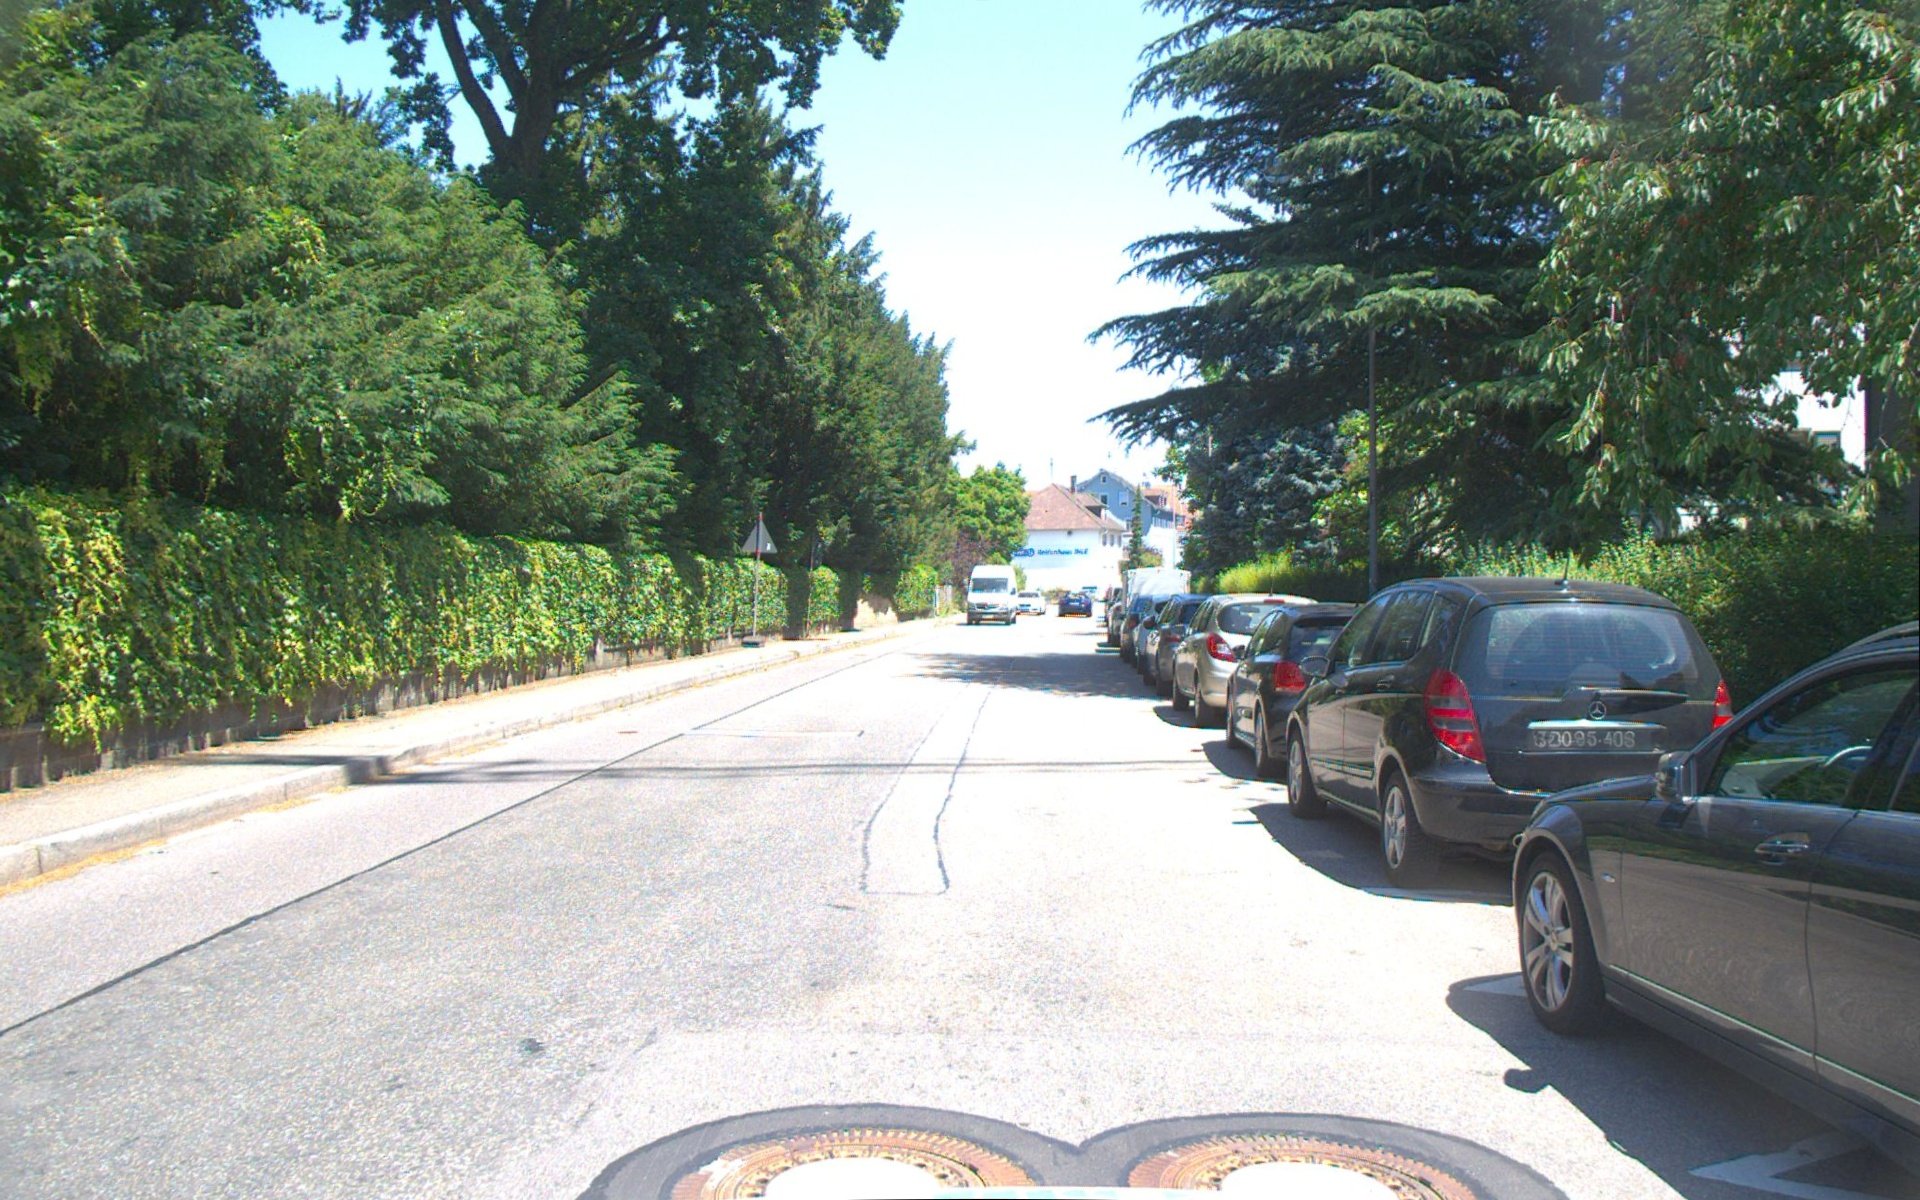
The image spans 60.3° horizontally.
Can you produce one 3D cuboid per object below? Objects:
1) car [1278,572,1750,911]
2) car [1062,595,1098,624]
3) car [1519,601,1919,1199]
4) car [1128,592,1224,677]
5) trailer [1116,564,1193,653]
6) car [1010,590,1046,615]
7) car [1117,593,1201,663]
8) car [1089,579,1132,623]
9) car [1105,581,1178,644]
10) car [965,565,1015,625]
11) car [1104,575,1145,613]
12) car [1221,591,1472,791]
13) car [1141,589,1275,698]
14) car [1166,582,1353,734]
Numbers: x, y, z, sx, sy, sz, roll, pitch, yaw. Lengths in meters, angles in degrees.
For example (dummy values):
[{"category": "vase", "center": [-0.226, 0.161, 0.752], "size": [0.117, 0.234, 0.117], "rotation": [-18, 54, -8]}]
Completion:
[{"category": "car", "center": [3.038, 0.653, 9.933], "size": [1.549, 1.603, 4.009], "rotation": [1, 1, 1]}, {"category": "car", "center": [6.875, 0.560, 94.262], "size": [1.756, 1.536, 4.003], "rotation": [2, 0, 8]}, {"category": "car", "center": [2.963, 0.744, 4.087], "size": [1.628, 1.457, 4.202], "rotation": [0, 0, -2]}, {"category": "car", "center": [4.110, 0.612, 31.877], "size": [1.580, 1.495, 4.066], "rotation": [0, 0, 4]}, {"category": "trailer", "center": [4.892, 0.181, 42.047], "size": [1.645, 2.104, 3.710], "rotation": [1, 1, 3]}, {"category": "car", "center": [4.098, 0.160, 99.004], "size": [1.824, 1.407, 4.608], "rotation": [1, 1, 6]}, {"category": "car", "center": [4.331, 0.583, 36.422], "size": [1.581, 1.420, 4.260], "rotation": [1, 0, 4]}, {"category": "car", "center": [6.446, 0.035, 70.990], "size": [1.709, 1.813, 4.546], "rotation": [1, 0, 5]}, {"category": "car", "center": [5.071, 0.311, 46.660], "size": [1.734, 1.660, 4.606], "rotation": [1, 1, 3]}, {"category": "car", "center": [1.402, -0.208, 74.315], "size": [1.952, 2.577, 5.897], "rotation": [1, 0, 4]}, {"category": "car", "center": [8.059, -0.297, 81.001], "size": [1.862, 1.758, 4.394], "rotation": [2, 0, 6]}, {"category": "car", "center": [3.335, 0.710, 14.936], "size": [1.548, 1.468, 4.010], "rotation": [3, 0, 4]}, {"category": "car", "center": [3.706, 0.603, 25.297], "size": [1.581, 1.476, 4.376], "rotation": [2, 0, 3]}, {"category": "car", "center": [3.499, 0.605, 19.970], "size": [1.581, 1.539, 4.065], "rotation": [2, 1, 2]}]
